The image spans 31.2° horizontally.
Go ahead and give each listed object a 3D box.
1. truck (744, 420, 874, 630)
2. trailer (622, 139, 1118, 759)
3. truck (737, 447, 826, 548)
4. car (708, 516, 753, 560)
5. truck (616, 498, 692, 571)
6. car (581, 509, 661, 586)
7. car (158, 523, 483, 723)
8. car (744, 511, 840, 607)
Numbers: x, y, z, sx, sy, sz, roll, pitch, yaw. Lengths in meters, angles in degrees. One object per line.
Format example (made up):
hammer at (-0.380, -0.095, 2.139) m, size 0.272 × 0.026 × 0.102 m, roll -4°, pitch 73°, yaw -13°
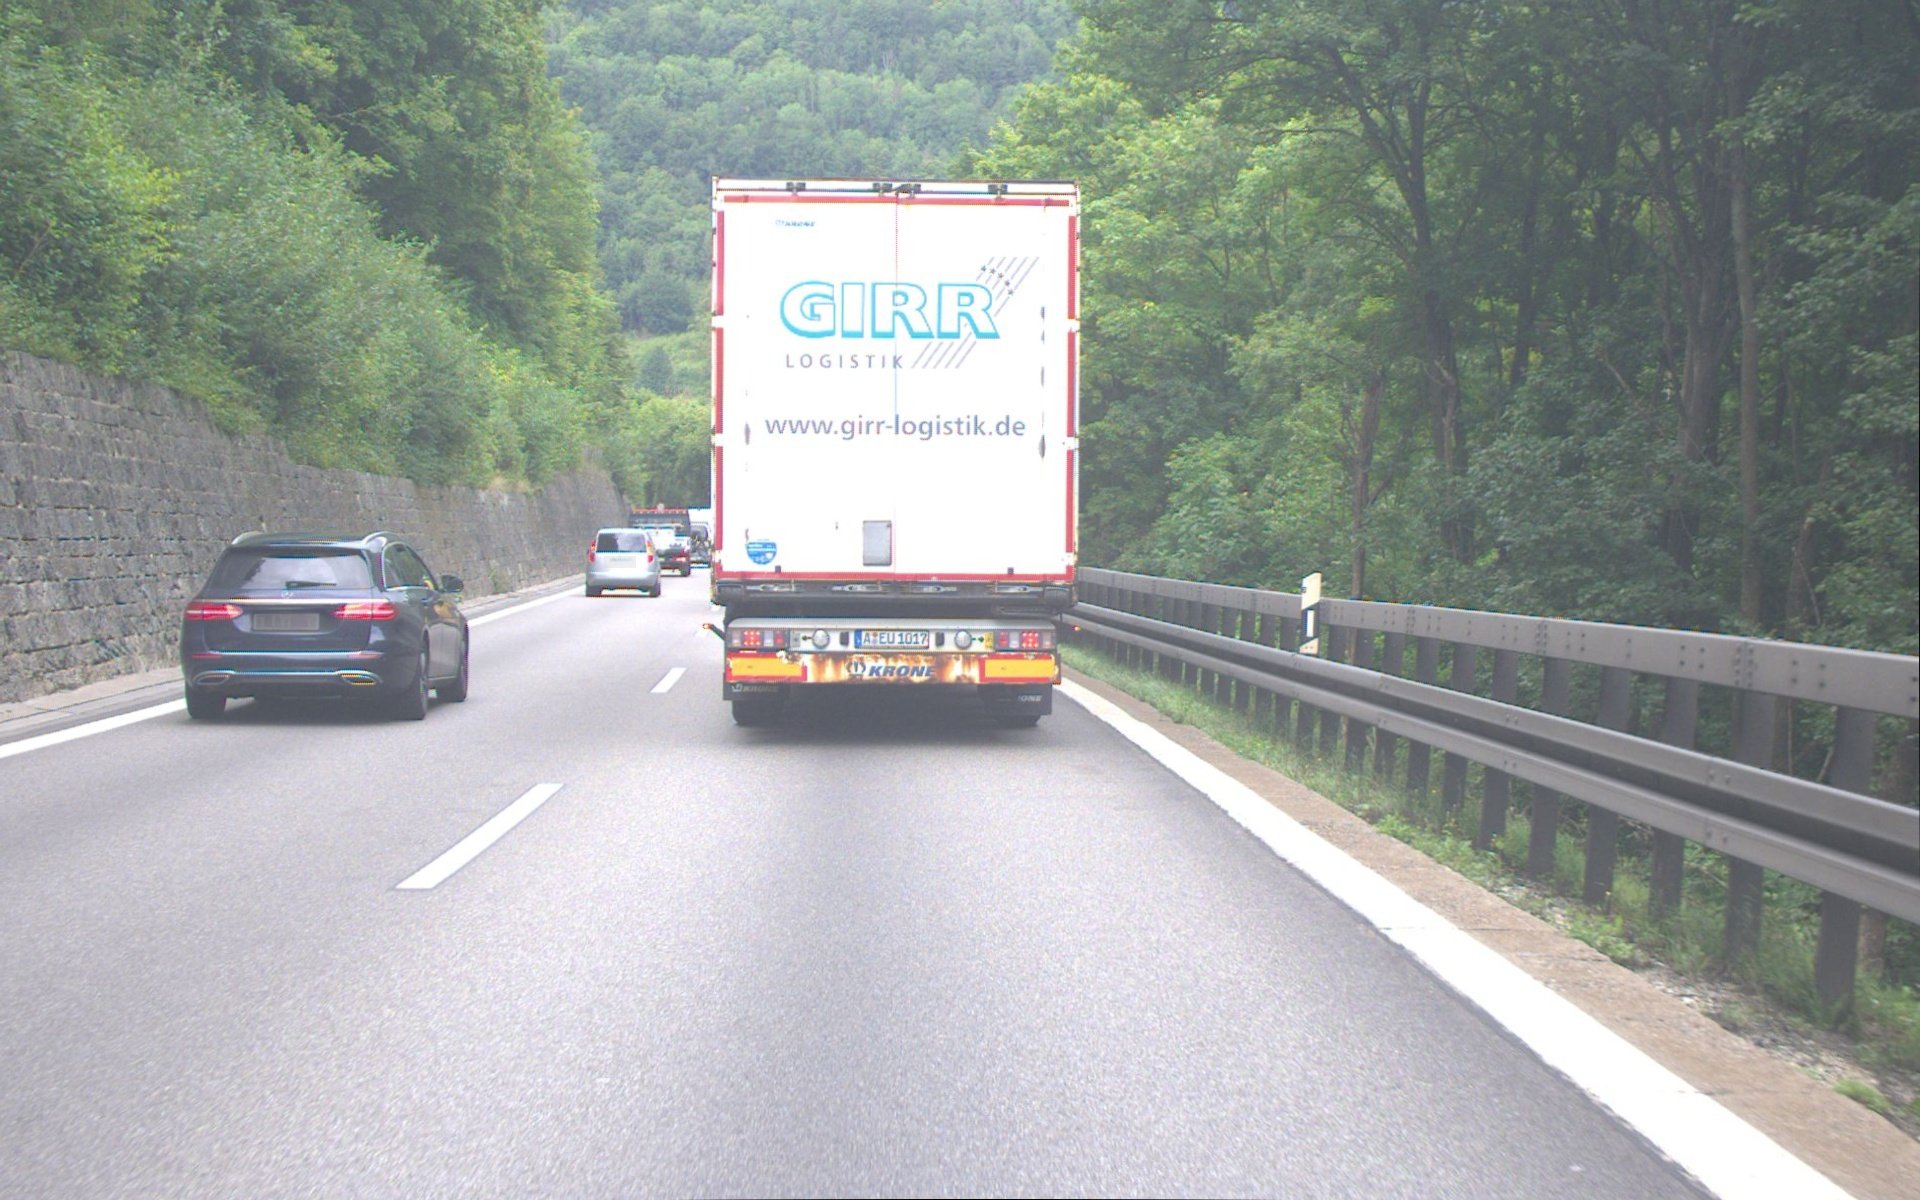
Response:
truck at (-3.003, -1.433, 66.968) m, size 2.233 × 3.791 × 6.824 m, roll 3°, pitch 1°, yaw -4°
trailer at (-0.825, -1.154, 28.274) m, size 3.133 × 4.029 × 9.441 m, roll 4°, pitch 1°, yaw -3°
truck at (-7.353, -4.139, 140.593) m, size 3.068 × 3.864 × 8.460 m, roll 3°, pitch 1°, yaw -5°
car at (-11.113, -2.995, 166.557) m, size 1.993 × 2.007 × 4.001 m, roll 3°, pitch 1°, yaw -3°
truck at (-10.211, -2.191, 115.161) m, size 2.349 × 2.266 × 6.851 m, roll 3°, pitch 1°, yaw -4°
car at (-7.988, -1.250, 81.327) m, size 1.634 × 1.720 × 4.345 m, roll 2°, pitch 1°, yaw -3°
car at (-5.137, 0.115, 28.261) m, size 1.760 × 1.458 × 5.123 m, roll 1°, pitch 1°, yaw -1°
car at (-3.828, -0.933, 77.675) m, size 1.993 × 2.007 × 4.334 m, roll 3°, pitch 1°, yaw -4°
